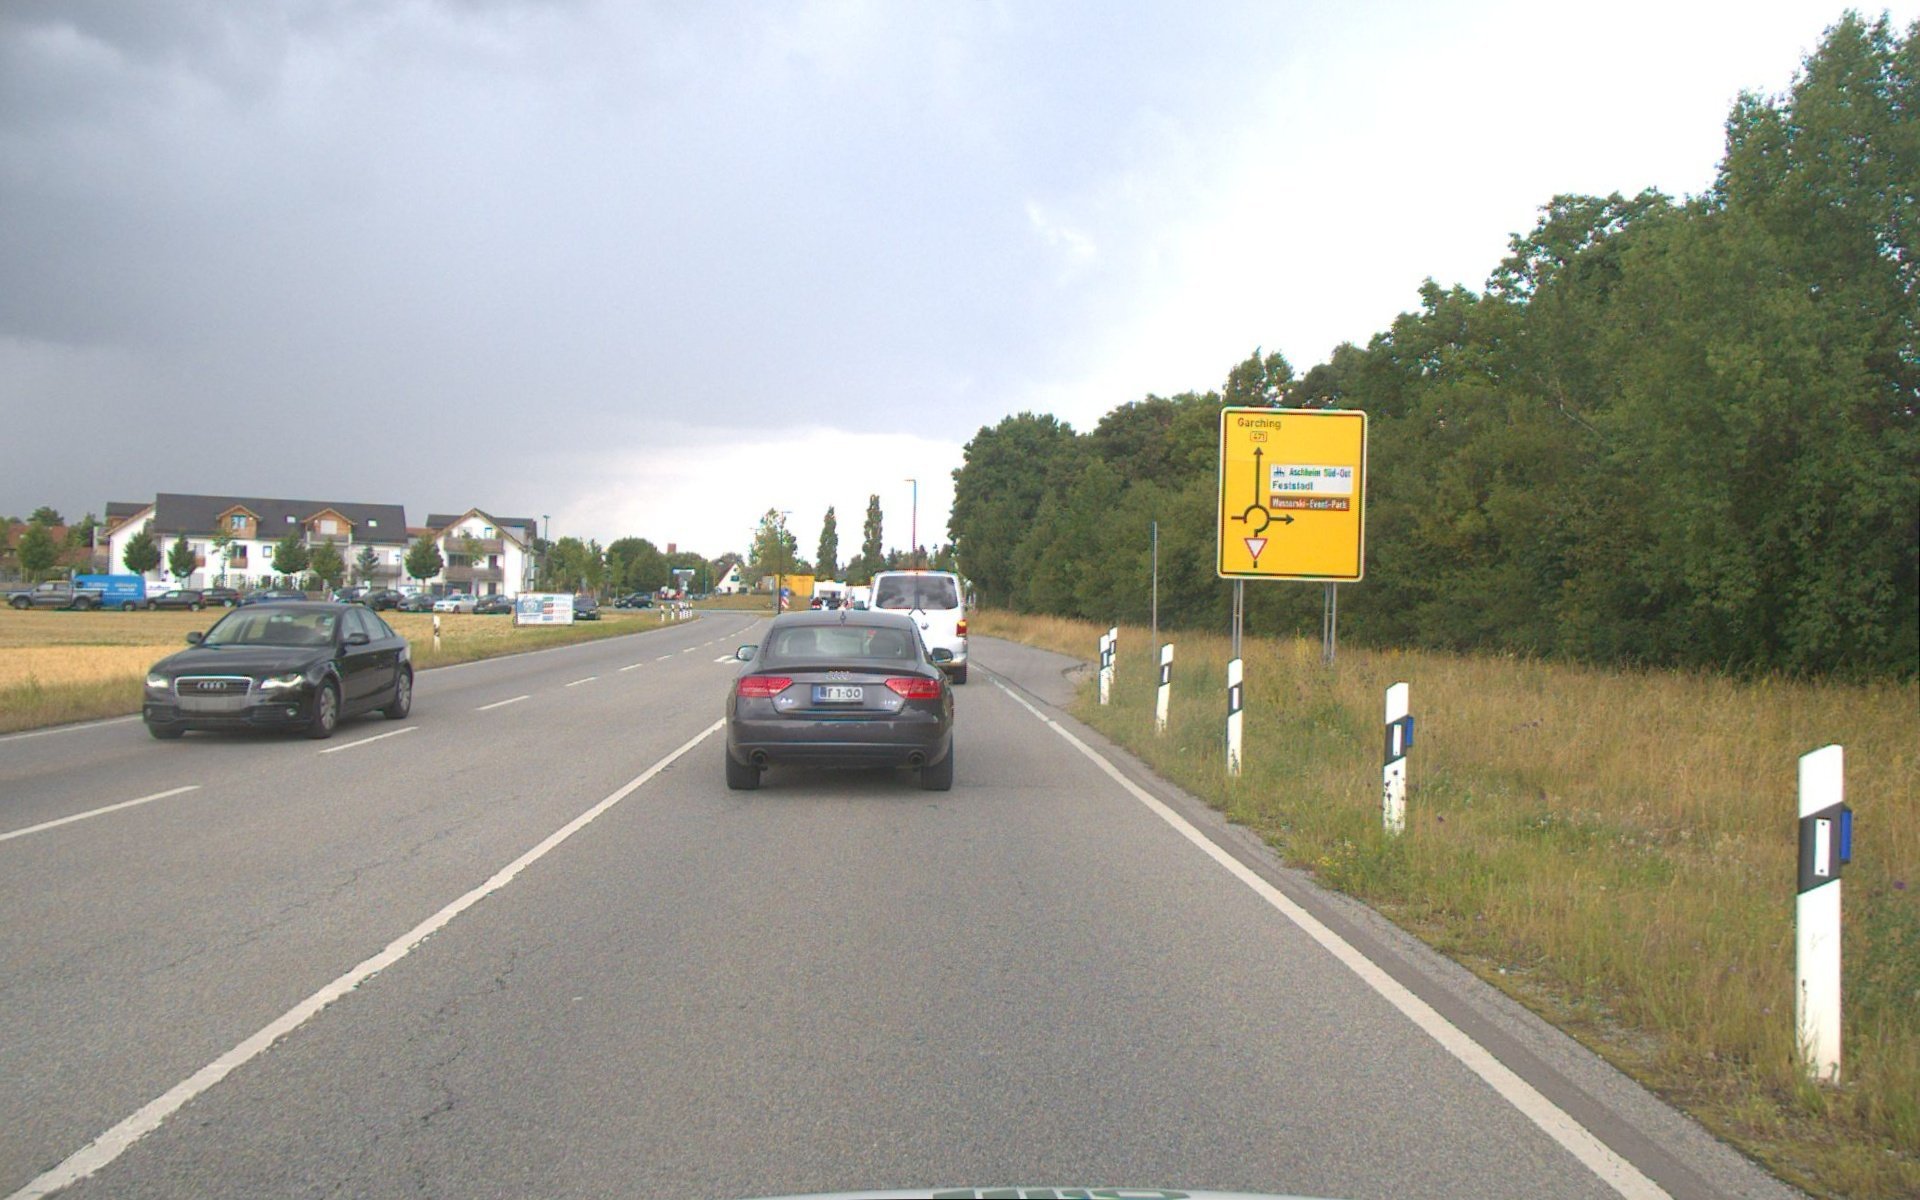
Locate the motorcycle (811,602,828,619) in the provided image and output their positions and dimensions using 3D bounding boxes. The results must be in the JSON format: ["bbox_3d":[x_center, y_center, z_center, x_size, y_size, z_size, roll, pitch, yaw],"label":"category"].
[{"bbox_3d":[-9.103,0.655,106.878,0.927,1.037,2.279,1,0,-9],"label":"motorcycle"}]

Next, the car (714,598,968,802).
[{"bbox_3d":[-1.004,0.732,14.177,1.838,1.479,4.173,0,0,-4],"label":"car"}]

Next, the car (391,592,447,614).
[{"bbox_3d":[-39.827,0.215,121.916,1.951,1.562,4.215,1,0,15],"label":"car"}]

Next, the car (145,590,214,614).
[{"bbox_3d":[-52.561,0.125,111.437,4.100,1.545,1.985,1,0,-24],"label":"car"}]

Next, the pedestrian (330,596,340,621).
[{"bbox_3d":[-39.038,0.522,103.333,0.581,1.583,0.622,1,0,-22],"label":"pedestrian"}]

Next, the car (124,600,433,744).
[{"bbox_3d":[-7.486,0.717,18.683,1.790,1.435,4.422,0,0,-2],"label":"car"}]

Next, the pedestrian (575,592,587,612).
[{"bbox_3d":[-30.226,0.175,132.002,0.686,1.613,0.658,1,0,13],"label":"pedestrian"}]

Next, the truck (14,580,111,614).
[{"bbox_3d":[-55.539,-0.169,102.388,5.171,1.954,2.091,1,0,-30],"label":"truck"}]

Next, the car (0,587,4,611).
[{"bbox_3d":[-62.222,-0.114,103.289,4.249,1.487,1.873,1,0,-30],"label":"car"}]

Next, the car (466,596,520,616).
[{"bbox_3d":[-34.241,0.444,121.463,1.951,1.471,4.215,1,0,15],"label":"car"}]

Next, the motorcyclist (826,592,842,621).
[{"bbox_3d":[-6.252,0.308,82.025,0.757,1.407,0.819,1,0,-4],"label":"motorcyclist"}]

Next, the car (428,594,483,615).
[{"bbox_3d":[-37.099,0.308,121.680,1.951,1.471,4.215,1,0,15],"label":"car"}]

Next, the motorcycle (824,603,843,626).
[{"bbox_3d":[-6.272,0.709,82.065,0.902,1.113,2.187,1,0,-3],"label":"motorcycle"}]

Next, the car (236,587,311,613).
[{"bbox_3d":[-47.324,-0.002,114.049,4.653,1.727,1.985,1,0,-24],"label":"car"}]

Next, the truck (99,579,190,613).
[{"bbox_3d":[-56.186,-0.281,114.087,5.497,2.235,2.585,1,0,-27],"label":"truck"}]

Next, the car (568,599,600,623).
[{"bbox_3d":[-24.982,0.697,109.692,1.960,1.467,3.985,1,1,-14],"label":"car"}]

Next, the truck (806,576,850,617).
[{"bbox_3d":[-9.487,-0.215,118.322,2.578,2.785,5.853,2,0,-10],"label":"truck"}]

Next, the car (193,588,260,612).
[{"bbox_3d":[-55.563,-0.032,125.308,4.564,1.727,1.985,1,0,-24],"label":"car"}]

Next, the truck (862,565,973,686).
[{"bbox_3d":[-0.848,0.433,30.616,1.866,2.033,4.625,1,0,-3],"label":"truck"}]

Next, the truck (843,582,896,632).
[{"bbox_3d":[-3.896,0.309,71.099,2.150,2.049,5.081,1,0,-3],"label":"truck"}]

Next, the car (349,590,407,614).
[{"bbox_3d":[-42.946,0.149,122.171,1.951,1.657,4.215,1,0,15],"label":"car"}]

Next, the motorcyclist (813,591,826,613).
[{"bbox_3d":[-9.094,0.109,106.863,0.771,1.380,0.852,1,0,-10],"label":"motorcyclist"}]

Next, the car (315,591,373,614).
[{"bbox_3d":[-46.204,0.165,124.168,1.951,1.657,4.215,1,0,15],"label":"car"}]

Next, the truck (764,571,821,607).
[{"bbox_3d":[-18.260,-1.222,179.517,3.525,3.641,9.893,2,0,-21],"label":"truck"}]

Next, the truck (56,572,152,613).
[{"bbox_3d":[-55.131,-0.485,106.667,5.382,2.489,2.374,1,0,-27],"label":"truck"}]
